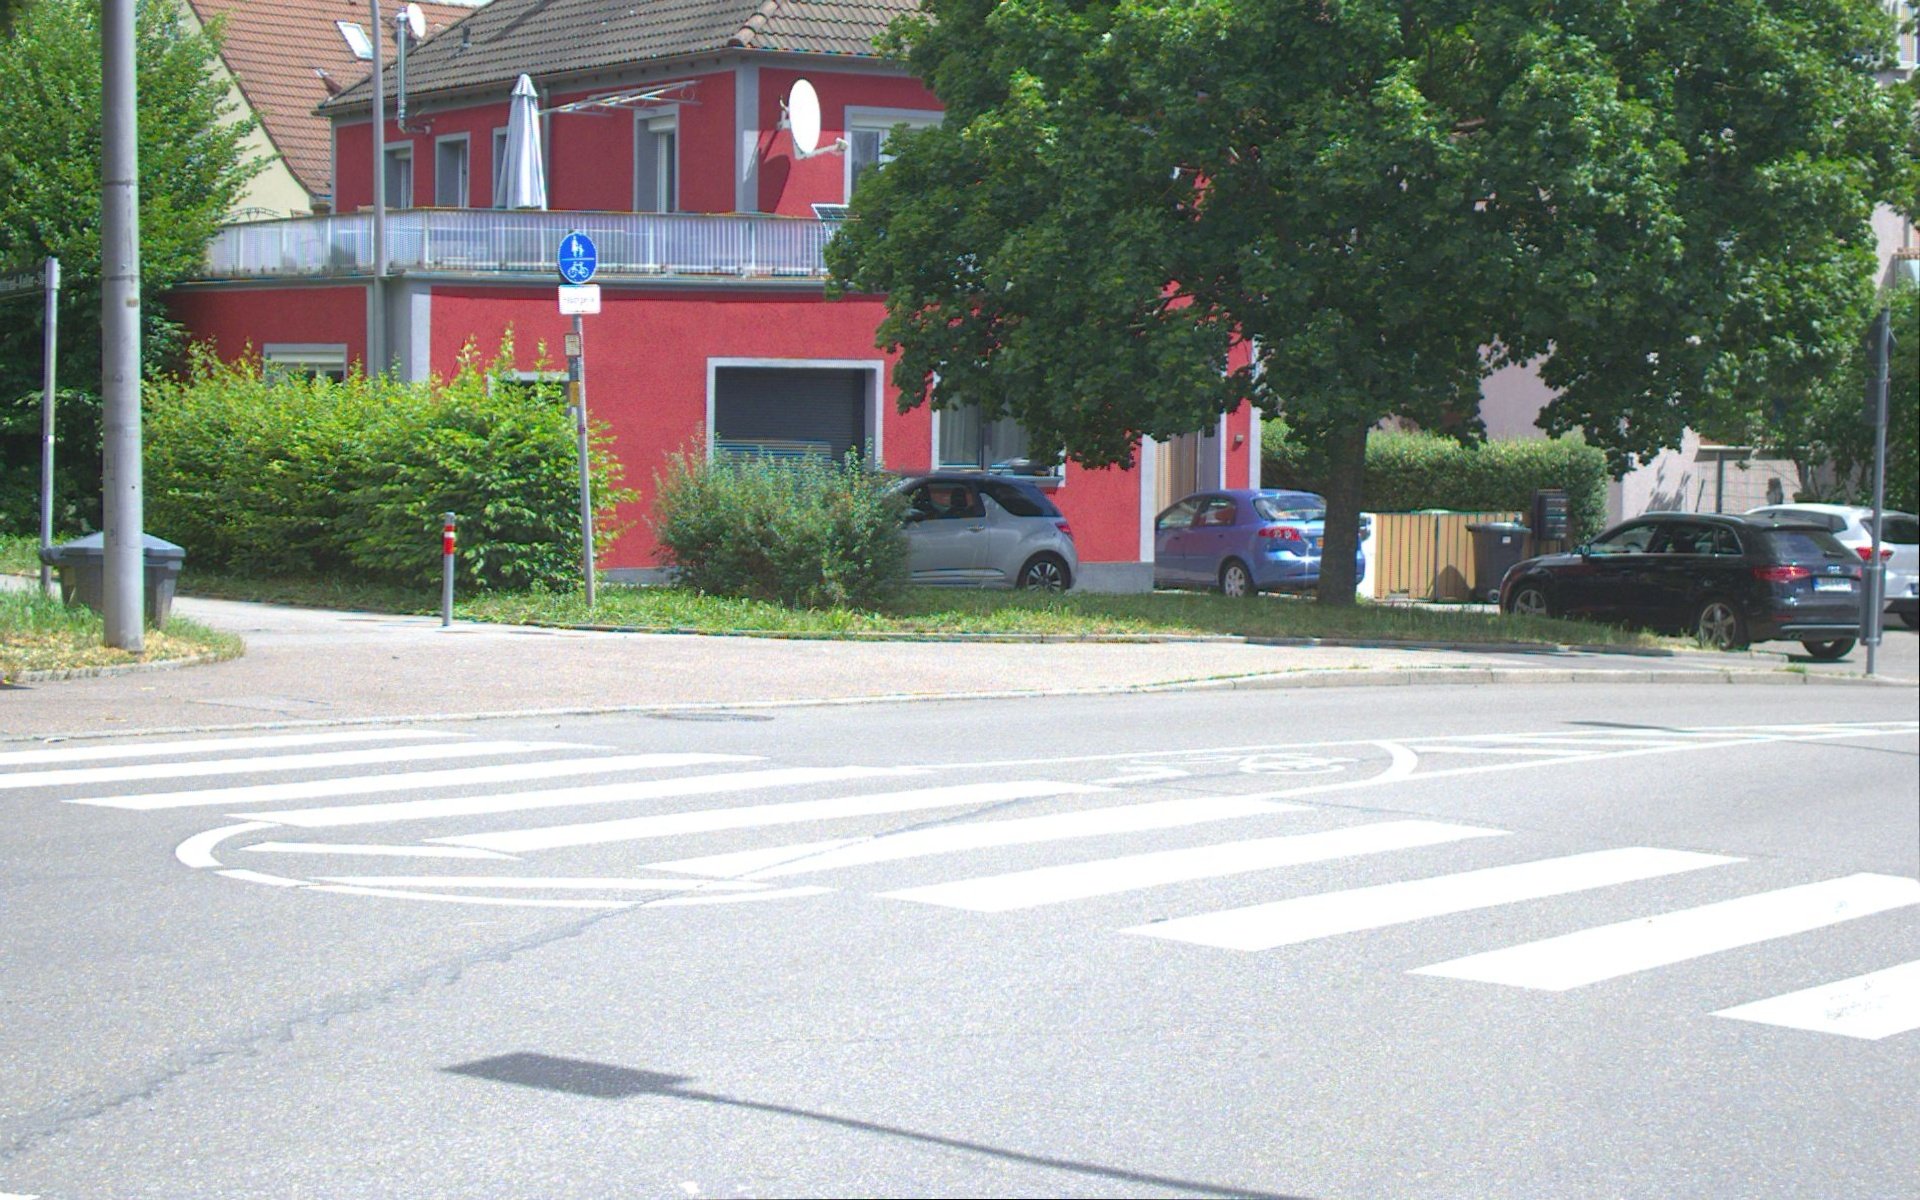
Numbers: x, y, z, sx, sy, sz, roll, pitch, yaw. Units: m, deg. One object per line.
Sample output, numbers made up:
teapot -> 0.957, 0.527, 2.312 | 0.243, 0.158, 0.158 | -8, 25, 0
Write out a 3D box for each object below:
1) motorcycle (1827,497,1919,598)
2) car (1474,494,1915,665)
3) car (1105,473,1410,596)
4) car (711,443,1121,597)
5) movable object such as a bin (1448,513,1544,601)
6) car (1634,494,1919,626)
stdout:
motorcycle -> 13.403, -0.717, 48.508 | 2.228, 1.311, 0.920 | 2, 3, -34
car -> 7.410, -0.238, 35.061 | 1.993, 1.388, 4.145 | 2, 4, -32
car -> 3.675, -0.838, 43.042 | 1.837, 1.373, 3.814 | 1, 2, -32
car -> -0.450, -0.845, 36.859 | 4.064, 1.420, 1.646 | 1, 4, -33
movable object such as a bin -> 6.943, -0.562, 44.559 | 0.877, 1.057, 0.758 | 2, 3, -28
car -> 10.341, -0.496, 41.833 | 1.870, 1.399, 3.932 | 2, 2, -36
